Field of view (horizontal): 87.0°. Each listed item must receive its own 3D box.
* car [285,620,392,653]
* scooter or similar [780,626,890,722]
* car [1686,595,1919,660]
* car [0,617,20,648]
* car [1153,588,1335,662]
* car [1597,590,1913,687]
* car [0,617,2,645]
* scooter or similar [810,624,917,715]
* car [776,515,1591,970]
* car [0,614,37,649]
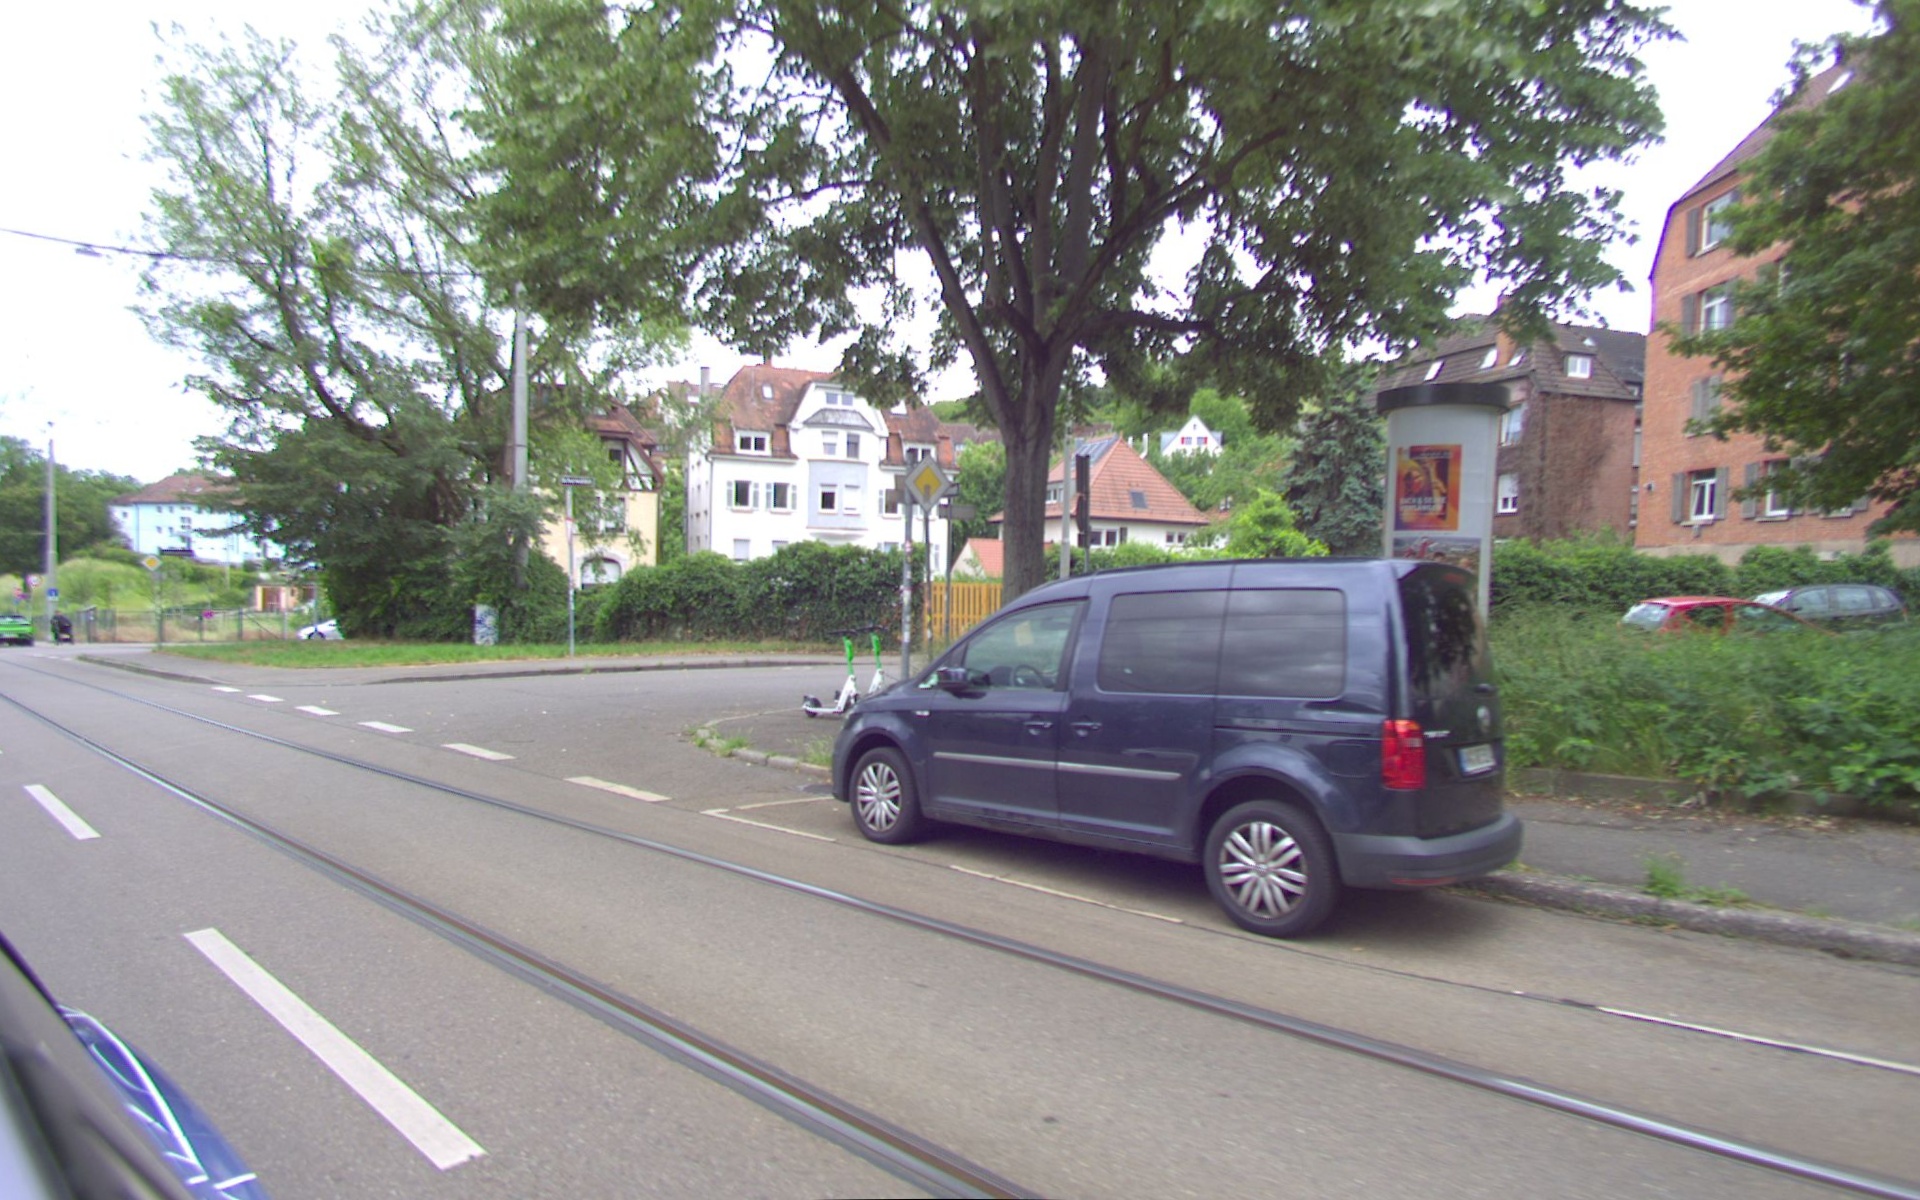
[{"bbox_3d":[-28.054,1.630,45.807,3.944,1.388,1.701,0,-1,-24],"label":"car"},{"bbox_3d":[-1.623,0.936,12.953,1.717,1.154,0.308,-3,-1,42],"label":"scooter or similar"},{"bbox_3d":[17.798,0.570,21.379,3.733,1.245,1.455,-1,0,5],"label":"car"},{"bbox_3d":[-48.435,1.620,50.507,3.947,1.505,1.831,-1,-3,42],"label":"car"},{"bbox_3d":[6.188,0.520,22.364,3.568,1.489,1.747,-1,0,5],"label":"car"},{"bbox_3d":[12.853,0.612,16.578,3.688,1.426,1.648,-2,0,9],"label":"car"},{"bbox_3d":[-54.853,1.708,56.358,3.947,1.505,1.831,-1,-3,42],"label":"car"},{"bbox_3d":[-1.325,0.930,13.633,1.717,1.154,0.308,-3,-1,42],"label":"scooter or similar"},{"bbox_3d":[1.004,0.638,6.247,4.668,1.789,1.742,-1,-4,43],"label":"car"},{"bbox_3d":[-44.126,1.478,46.734,3.947,1.552,1.831,-2,-1,42],"label":"car"}]
